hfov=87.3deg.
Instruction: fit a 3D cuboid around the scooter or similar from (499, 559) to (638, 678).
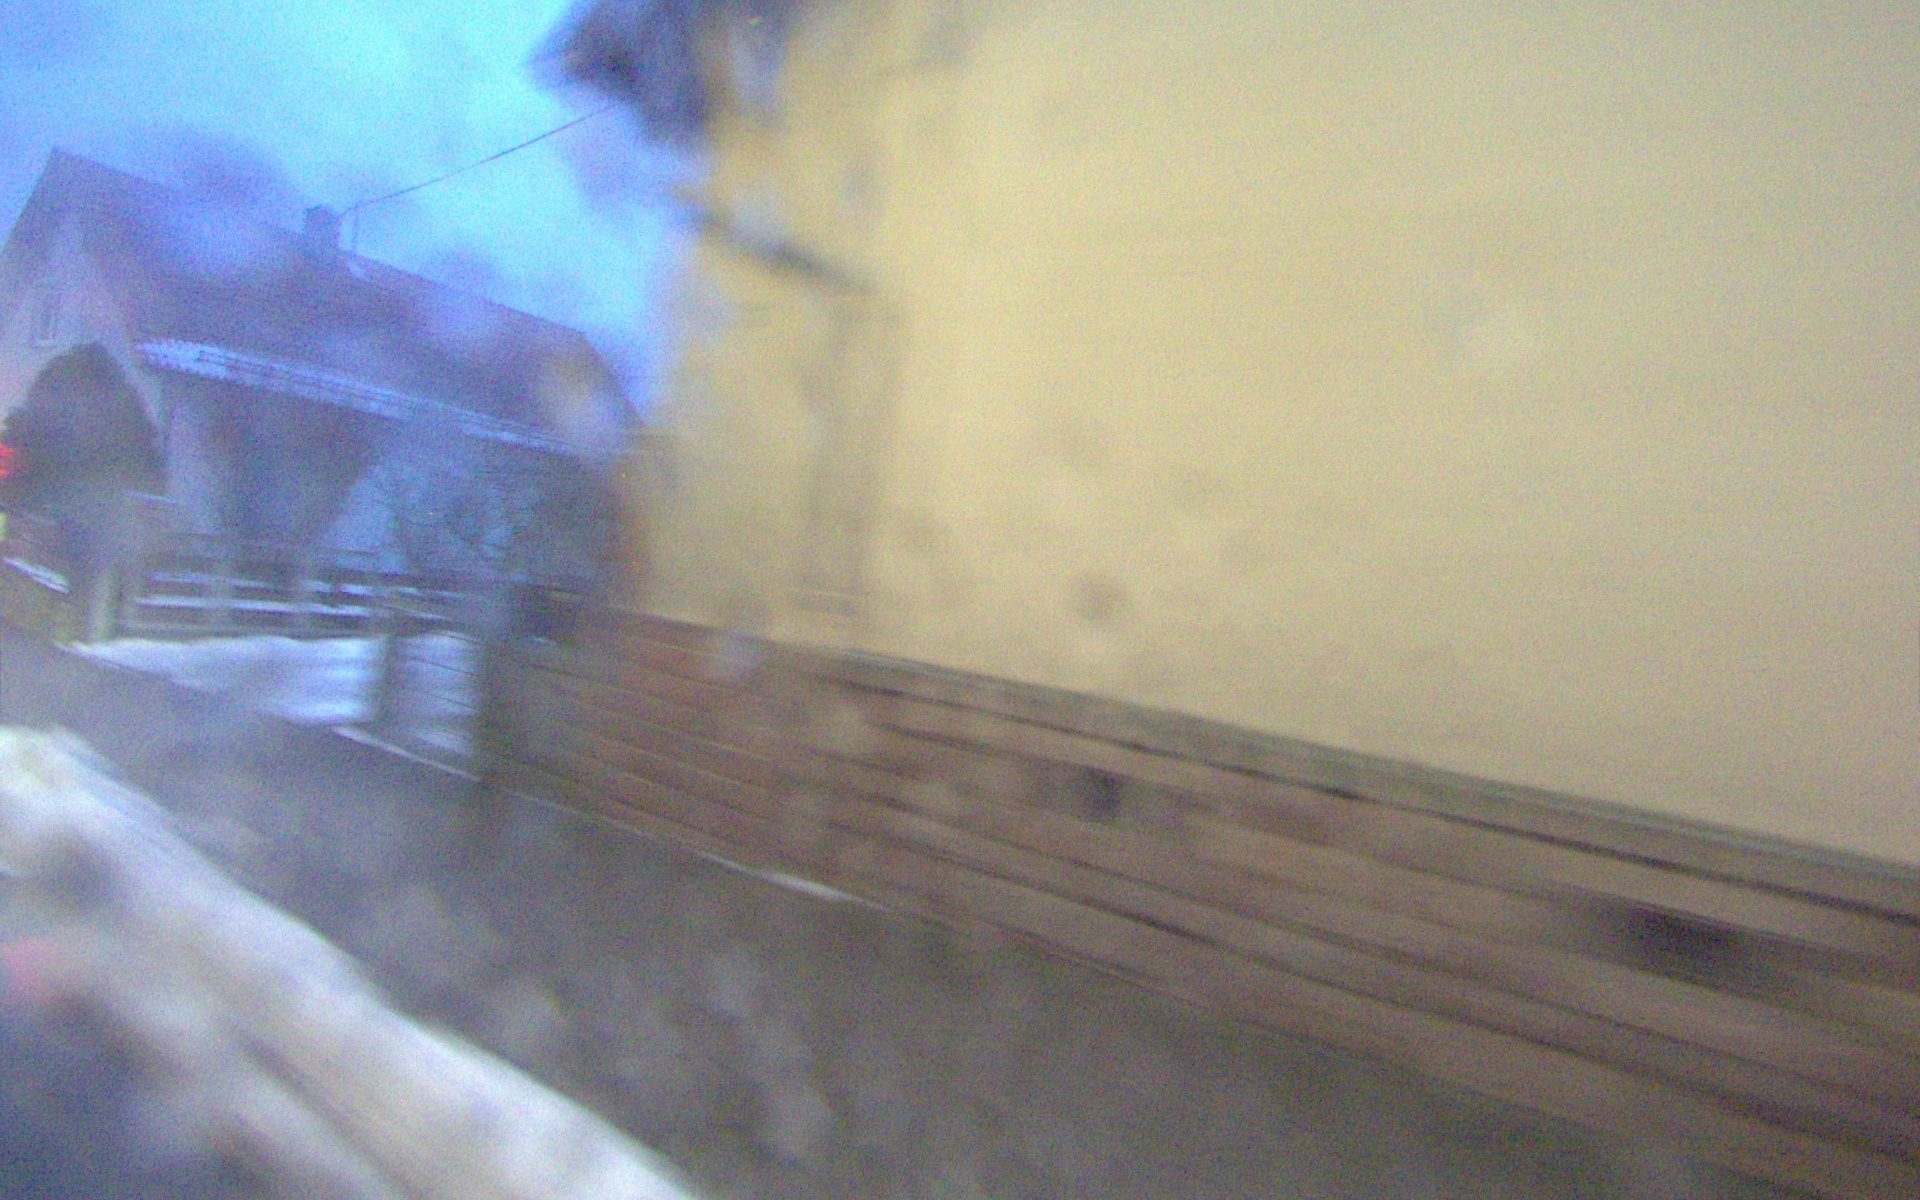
[{"bbox_3d":[-4.720,0.208,12.089,1.601,1.142,0.613,11,5,31],"label":"scooter or similar"}]
